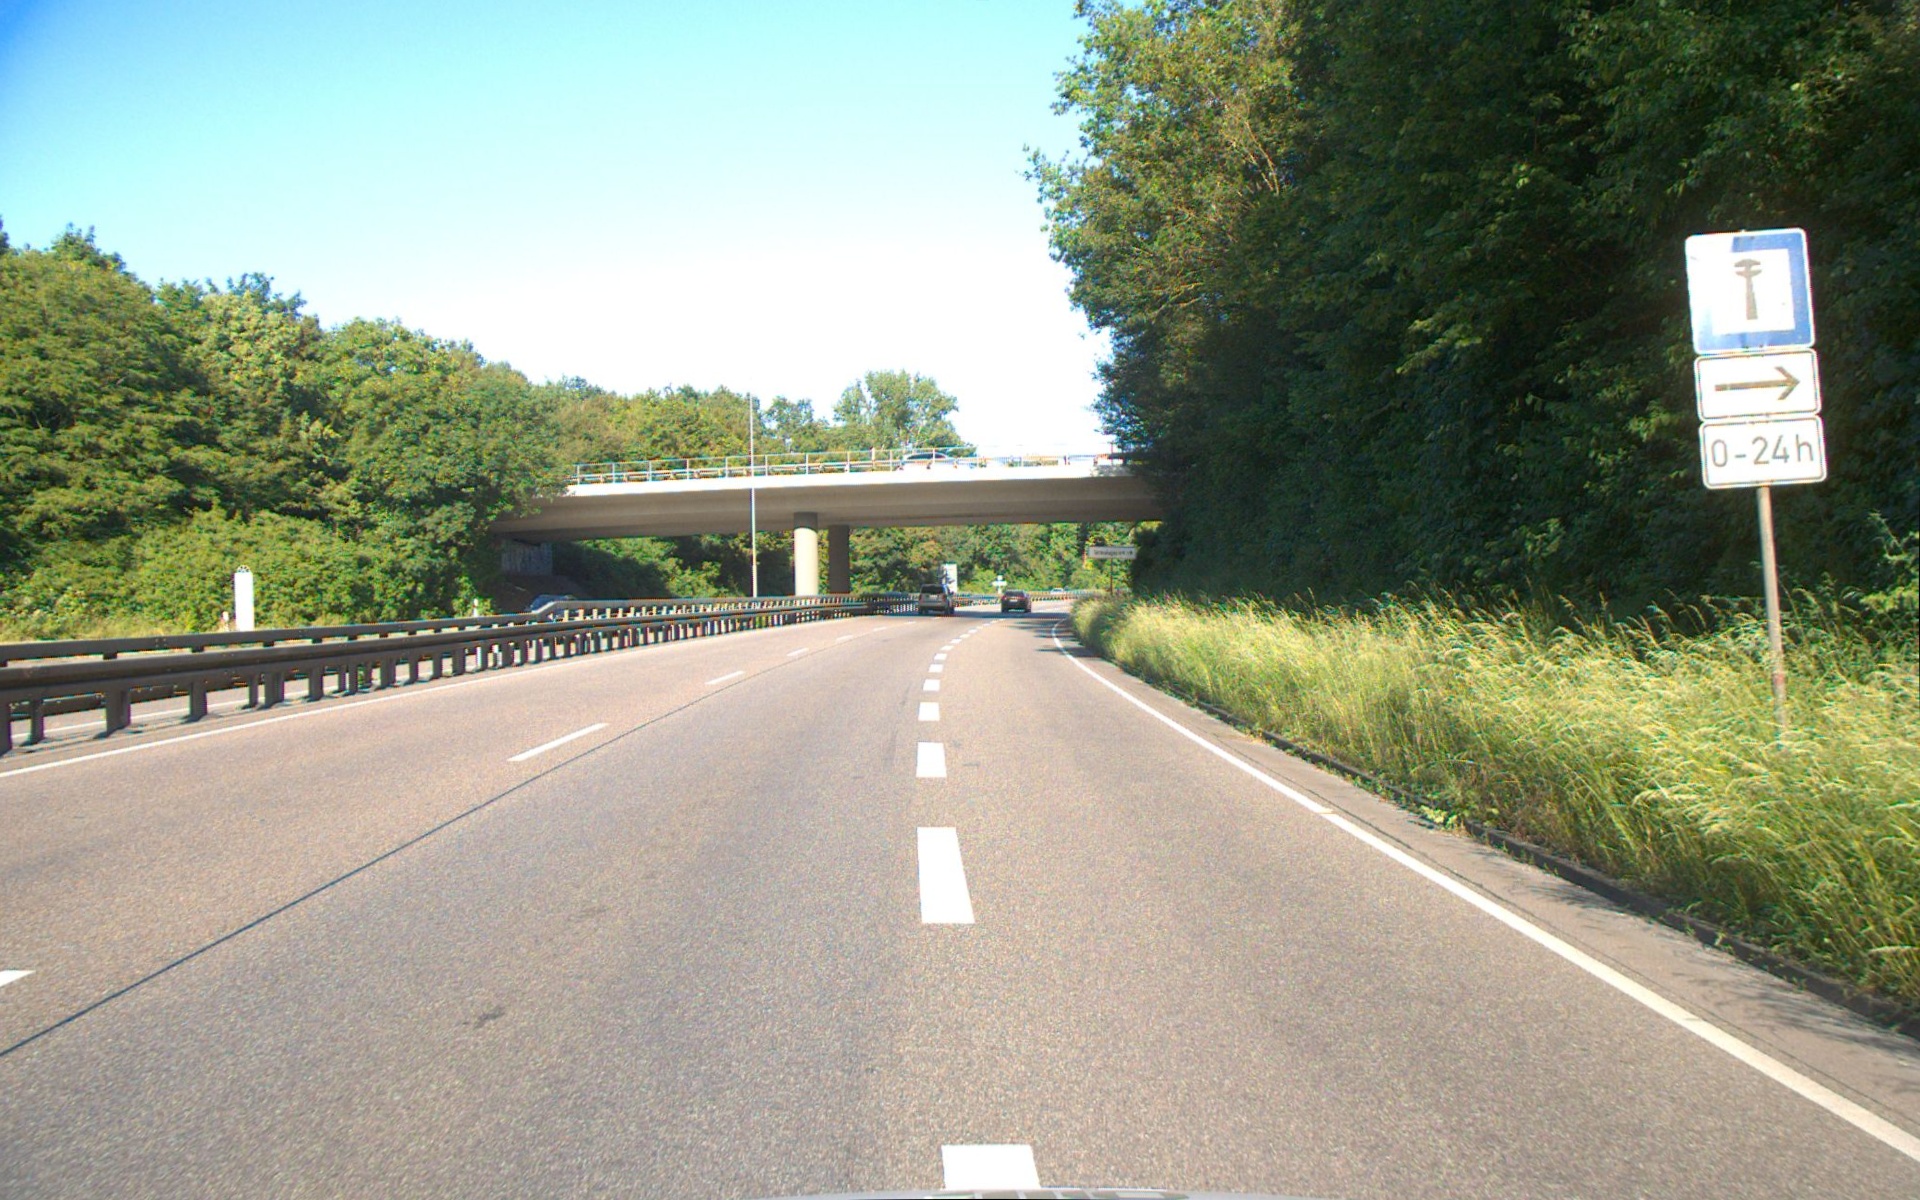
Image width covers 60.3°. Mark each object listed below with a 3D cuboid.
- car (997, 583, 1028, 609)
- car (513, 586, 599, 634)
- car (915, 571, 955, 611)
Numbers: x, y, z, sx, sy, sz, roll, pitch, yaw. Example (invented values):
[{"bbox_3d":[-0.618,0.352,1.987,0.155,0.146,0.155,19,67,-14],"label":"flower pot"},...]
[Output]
[{"bbox_3d":[3.525,-0.294,109.725,1.702,1.691,3.949,-1,0,7],"label":"car"},{"bbox_3d":[-16.431,0.377,67.526,1.952,1.880,5.313,0,0,3],"label":"car"},{"bbox_3d":[-1.469,-0.569,99.116,1.951,2.317,4.003,-1,0,5],"label":"car"}]
